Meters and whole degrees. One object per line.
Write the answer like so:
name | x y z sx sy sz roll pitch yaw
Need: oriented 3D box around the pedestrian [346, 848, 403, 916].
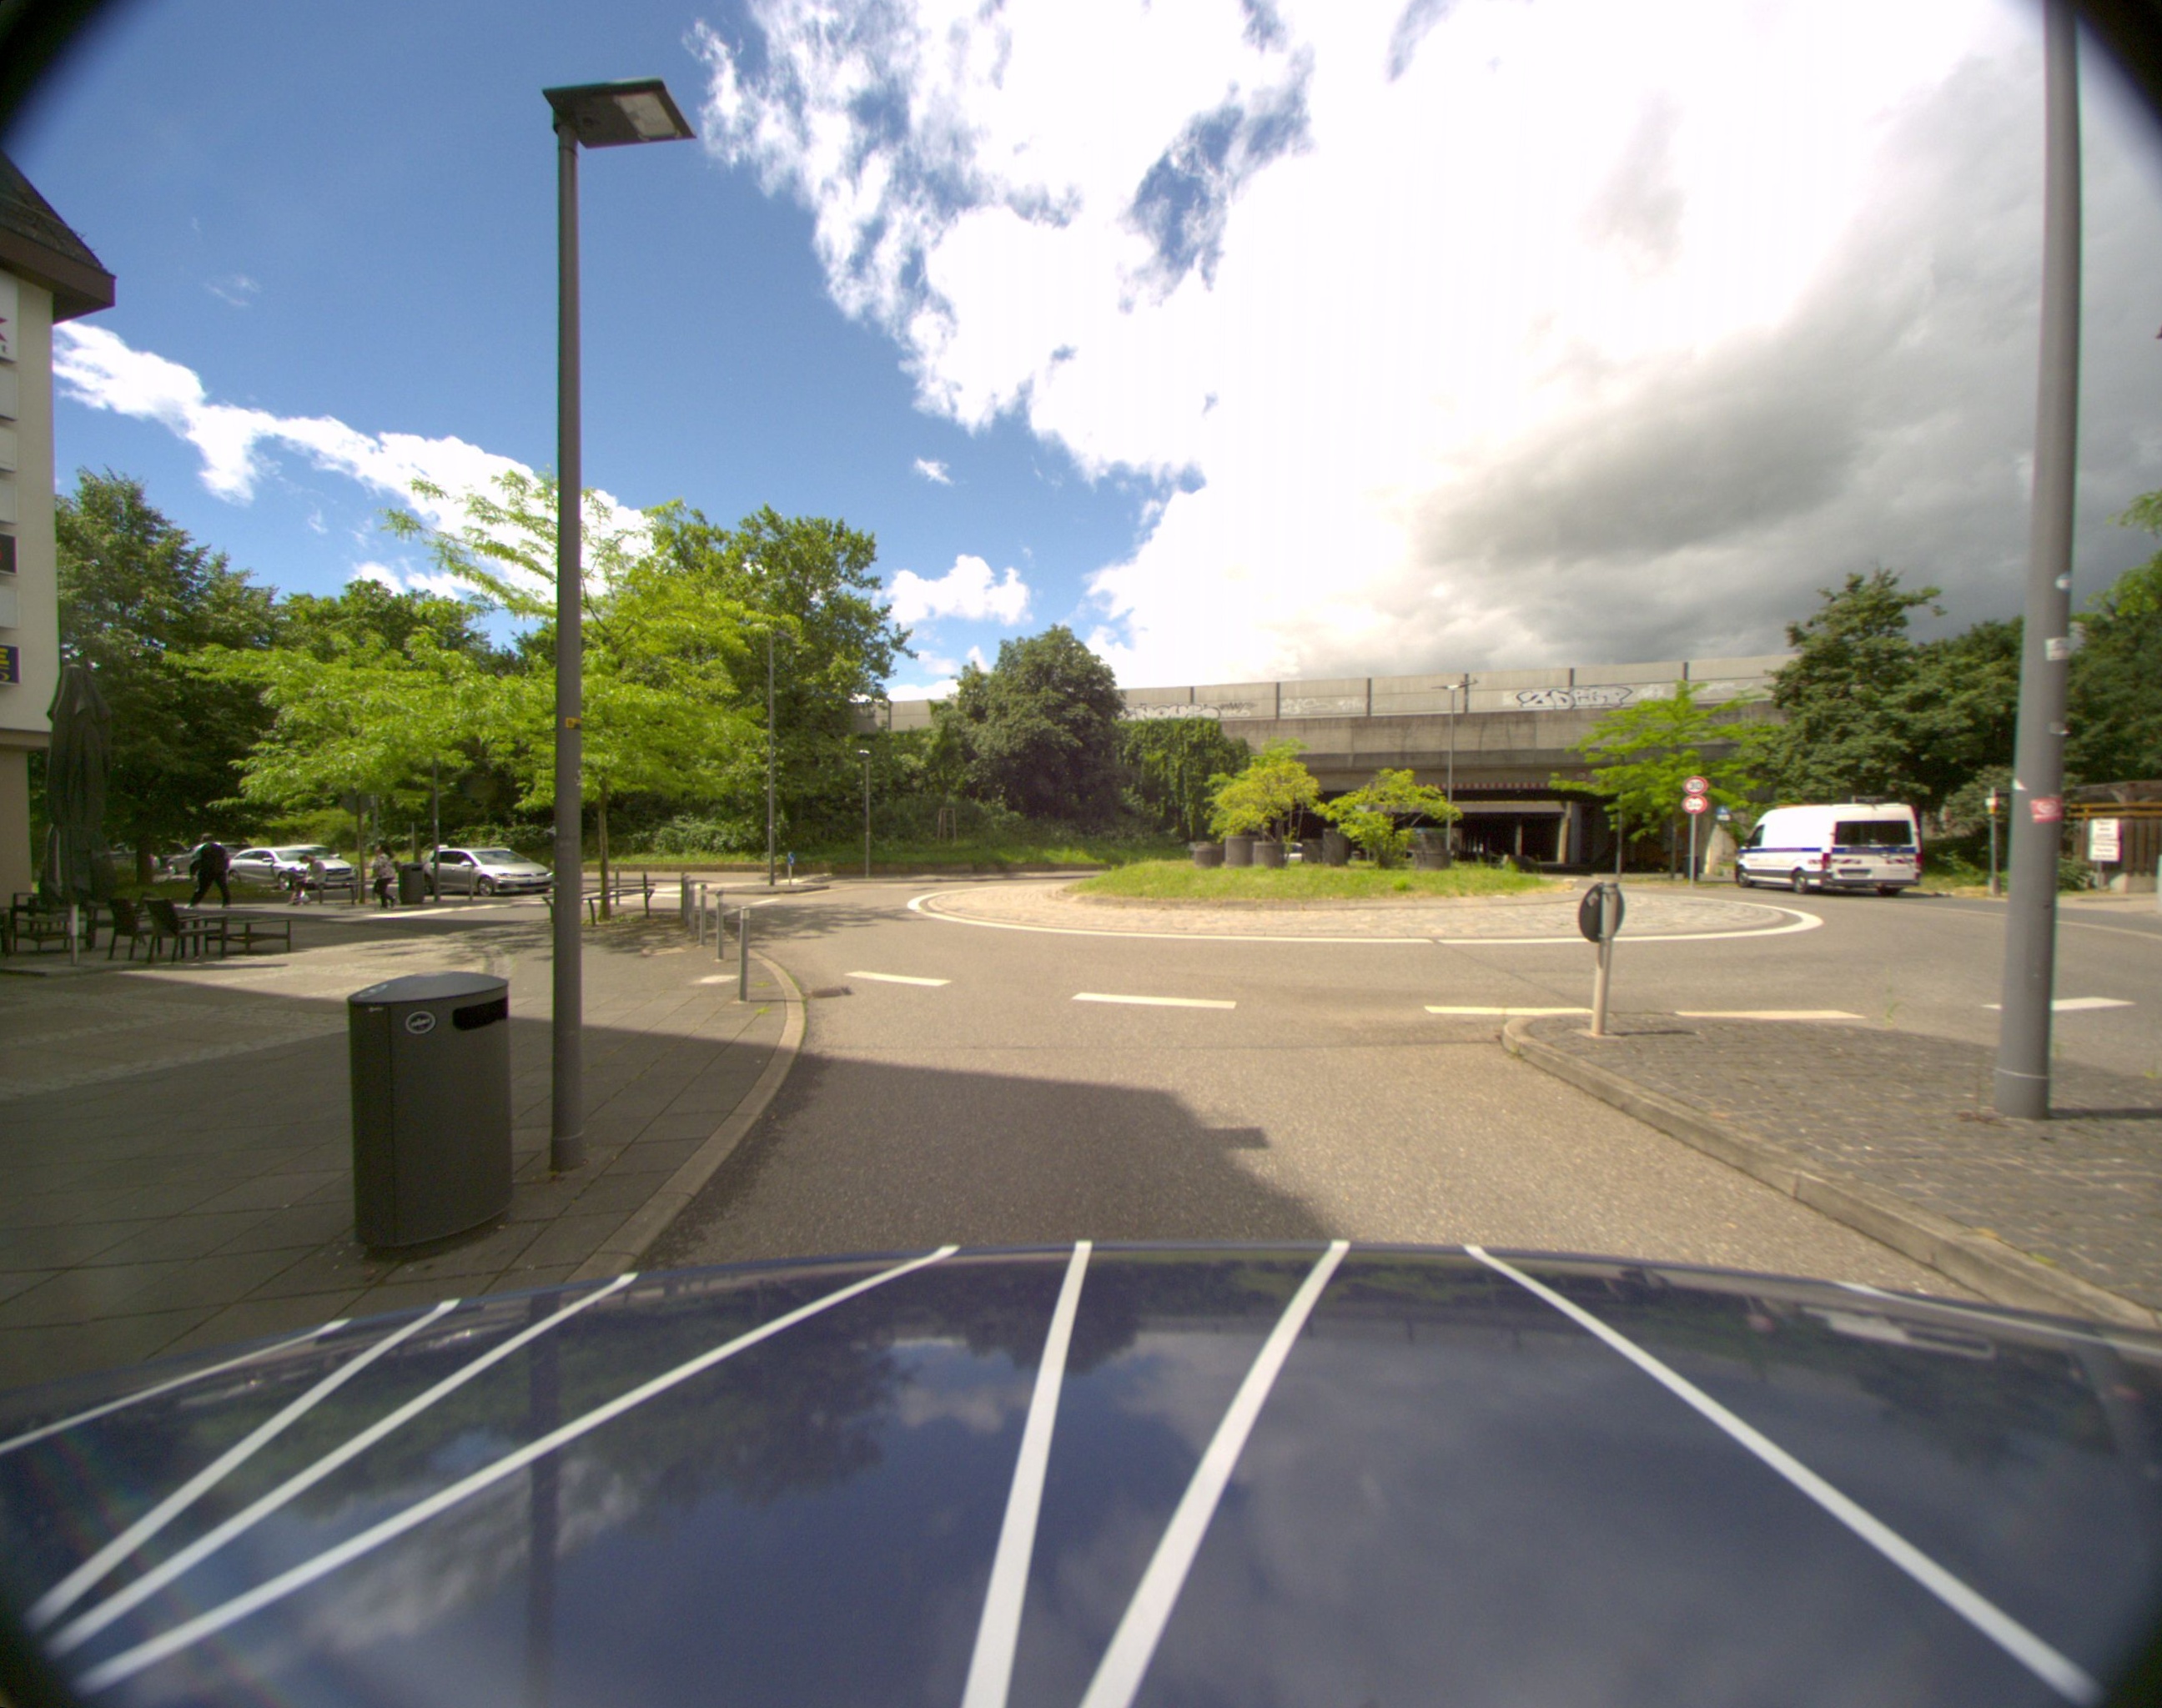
pedestrian | -16.387 0.626 17.647 0.780 1.545 0.764 -1 1 -29

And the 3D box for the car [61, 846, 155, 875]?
car | -51.656 0.300 40.337 3.990 1.477 1.937 0 1 21

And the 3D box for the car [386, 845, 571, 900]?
car | -18.519 0.534 23.419 4.576 1.500 2.001 0 3 14

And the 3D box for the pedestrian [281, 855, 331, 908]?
pedestrian | -19.524 0.678 19.158 0.616 1.277 0.699 0 1 26

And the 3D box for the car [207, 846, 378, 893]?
car | -27.378 0.512 26.428 4.576 1.500 2.001 0 2 13

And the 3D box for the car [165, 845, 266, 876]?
car | -42.130 0.282 37.000 3.990 1.477 1.937 0 1 21

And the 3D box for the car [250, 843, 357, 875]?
car | -36.623 0.212 35.823 3.992 1.323 1.758 0 4 16

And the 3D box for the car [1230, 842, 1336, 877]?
car | 8.106 0.202 30.544 3.992 1.346 1.717 0 1 16

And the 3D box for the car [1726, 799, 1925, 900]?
car | 21.801 -0.136 22.680 1.969 2.592 5.938 -1 1 20

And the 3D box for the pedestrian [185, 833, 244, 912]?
pedestrian | -20.304 0.422 17.810 0.616 1.808 0.699 1 2 19

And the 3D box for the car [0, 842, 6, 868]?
car | -63.038 0.048 42.779 3.990 1.477 1.937 0 1 21
